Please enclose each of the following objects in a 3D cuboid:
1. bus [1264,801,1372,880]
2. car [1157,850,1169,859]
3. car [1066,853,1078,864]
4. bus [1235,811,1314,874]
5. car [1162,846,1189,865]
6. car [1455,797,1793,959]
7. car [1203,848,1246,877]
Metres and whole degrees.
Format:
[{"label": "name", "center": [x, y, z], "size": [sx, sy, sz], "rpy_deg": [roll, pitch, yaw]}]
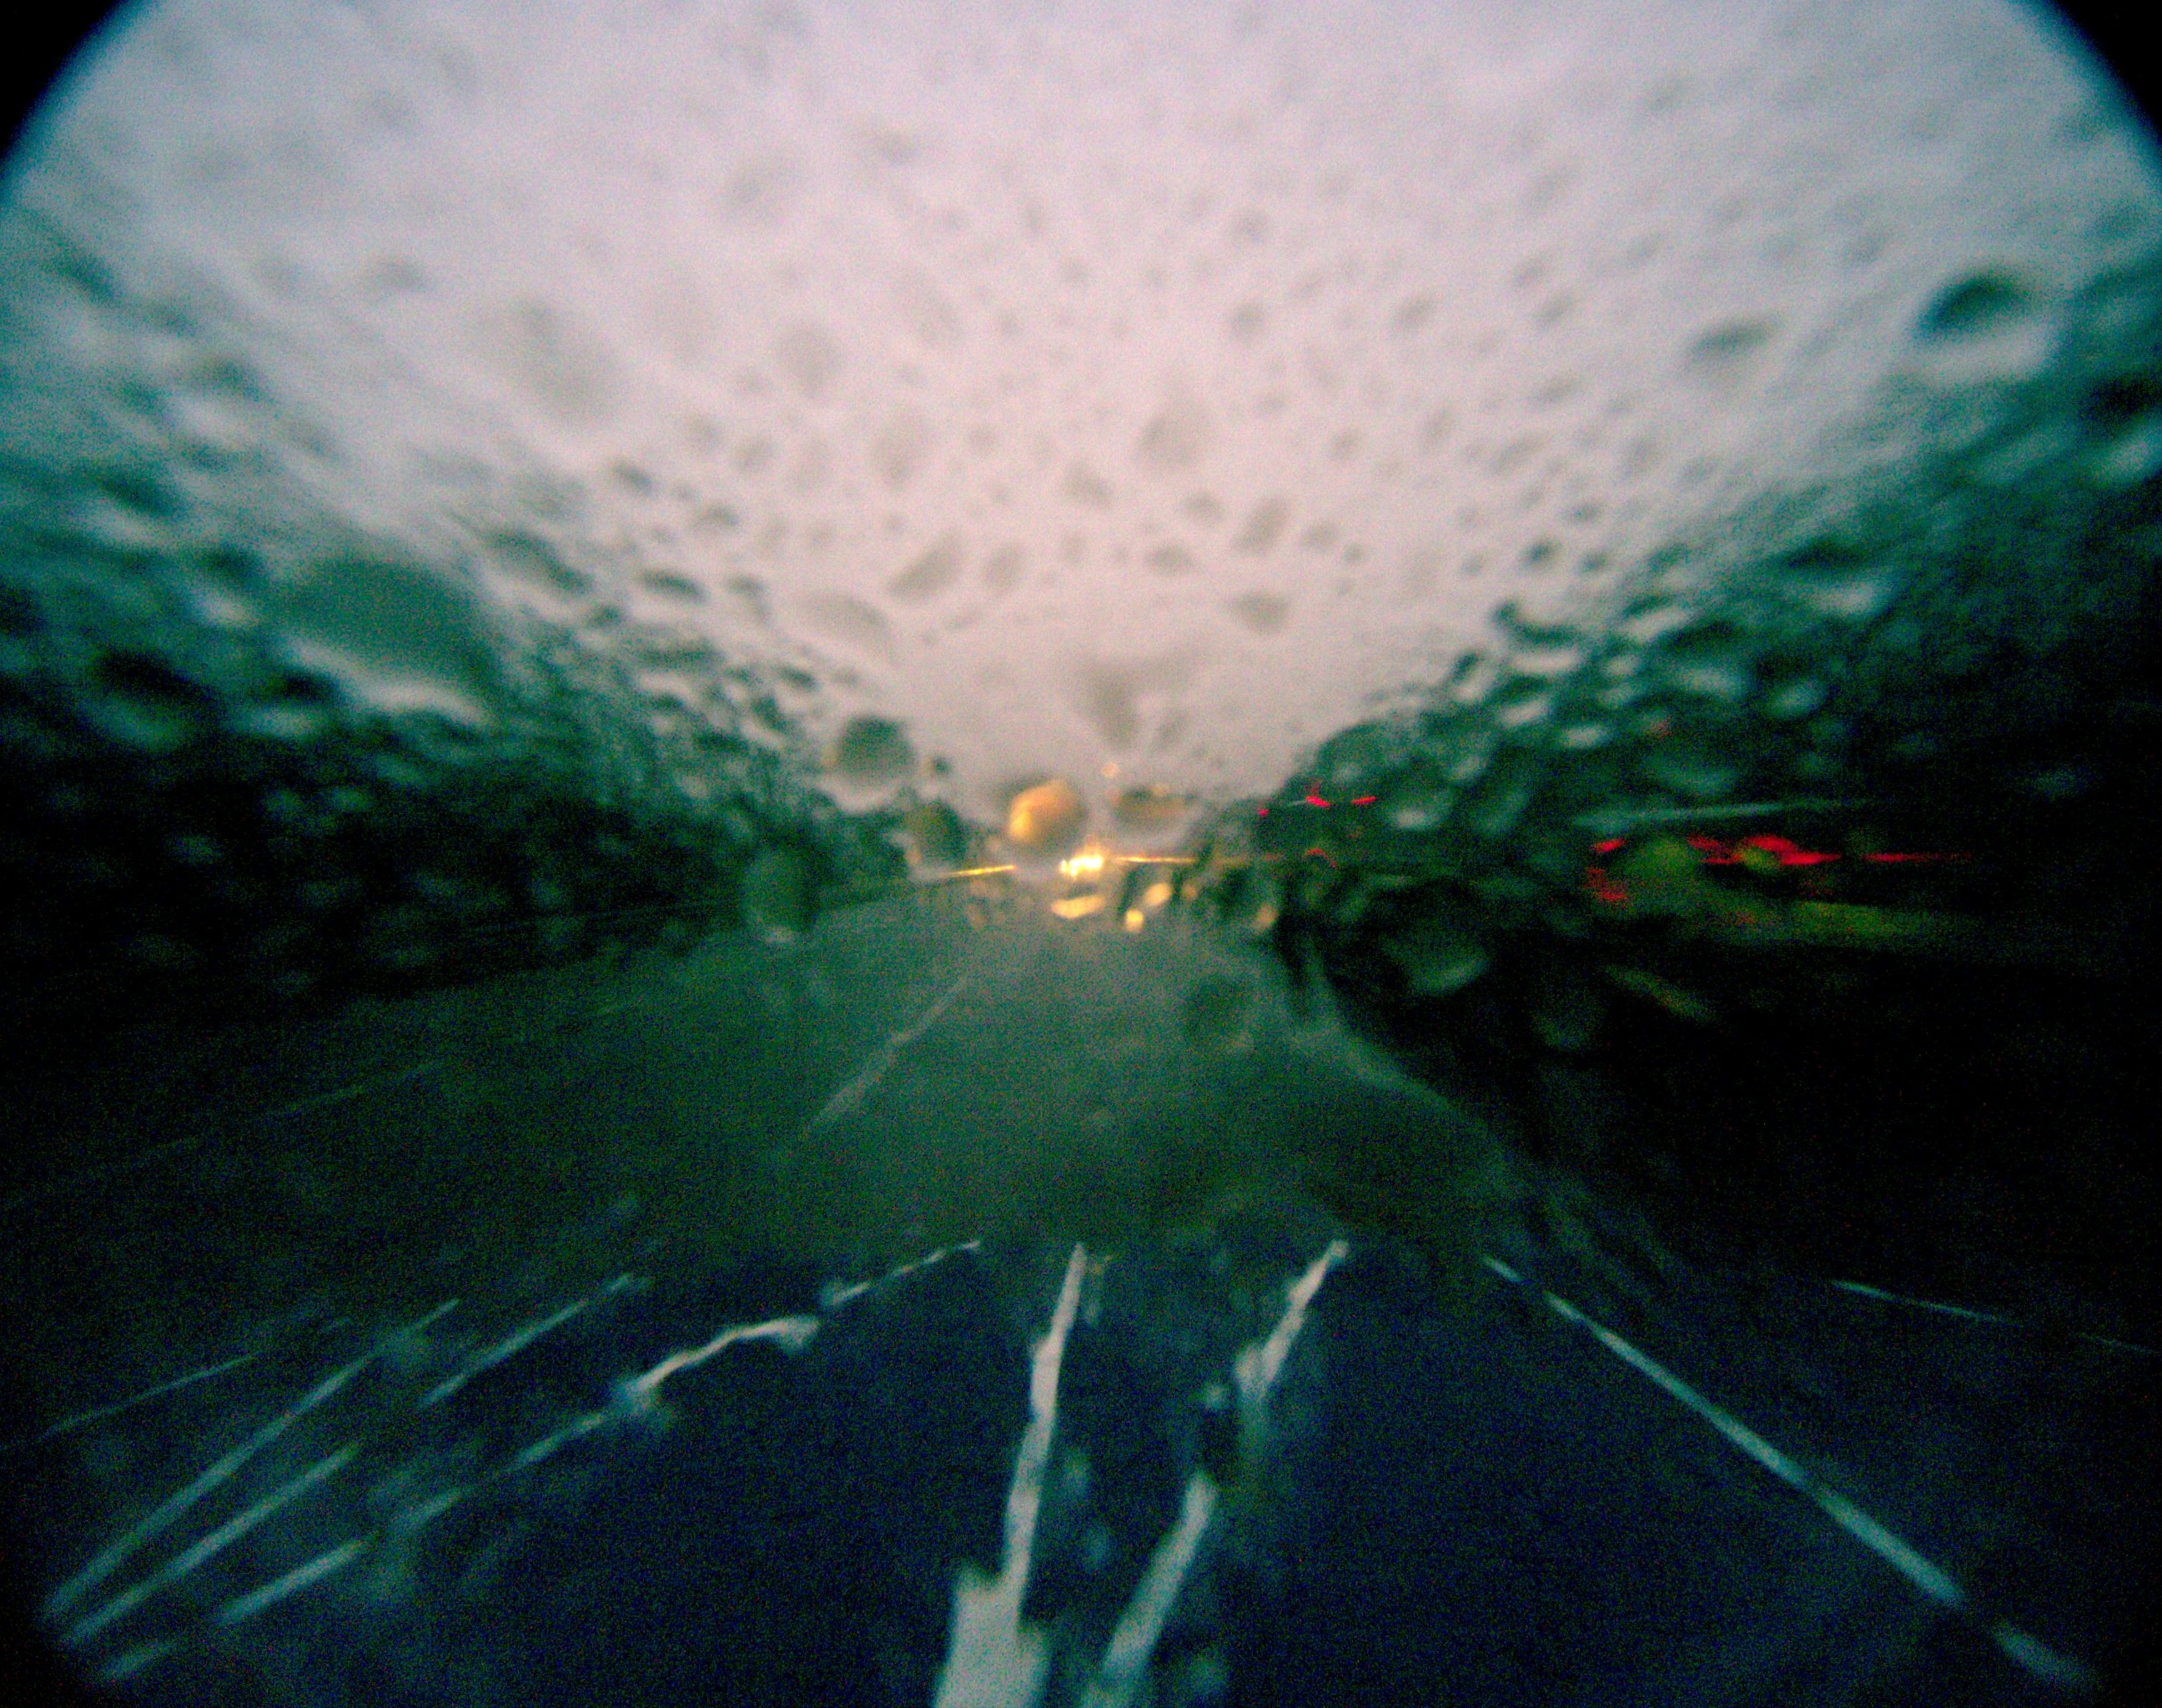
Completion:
[{"label": "bus", "center": [11.962, -0.646, 39.335], "size": [2.745, 3.534, 9.155], "rpy_deg": [-2, 0, 1]}, {"label": "car", "center": [15.092, 0.018, 140.477], "size": [1.694, 1.637, 4.605], "rpy_deg": [-2, 0, 1]}, {"label": "car", "center": [-1.401, 0.642, 120.220], "size": [1.748, 1.643, 4.000], "rpy_deg": [-2, 0, 2]}, {"label": "bus", "center": [12.101, -0.704, 48.542], "size": [2.733, 3.534, 9.087], "rpy_deg": [-2, 0, 1]}, {"label": "car", "center": [8.447, 0.151, 68.035], "size": [1.835, 1.584, 4.152], "rpy_deg": [-2, 0, 0]}, {"label": "car", "center": [8.116, 0.293, 12.093], "size": [1.998, 2.002, 4.728], "rpy_deg": [-2, 0, 1]}, {"label": "car", "center": [8.206, 0.443, 43.769], "size": [1.803, 1.526, 4.270], "rpy_deg": [-2, 0, 2]}]
